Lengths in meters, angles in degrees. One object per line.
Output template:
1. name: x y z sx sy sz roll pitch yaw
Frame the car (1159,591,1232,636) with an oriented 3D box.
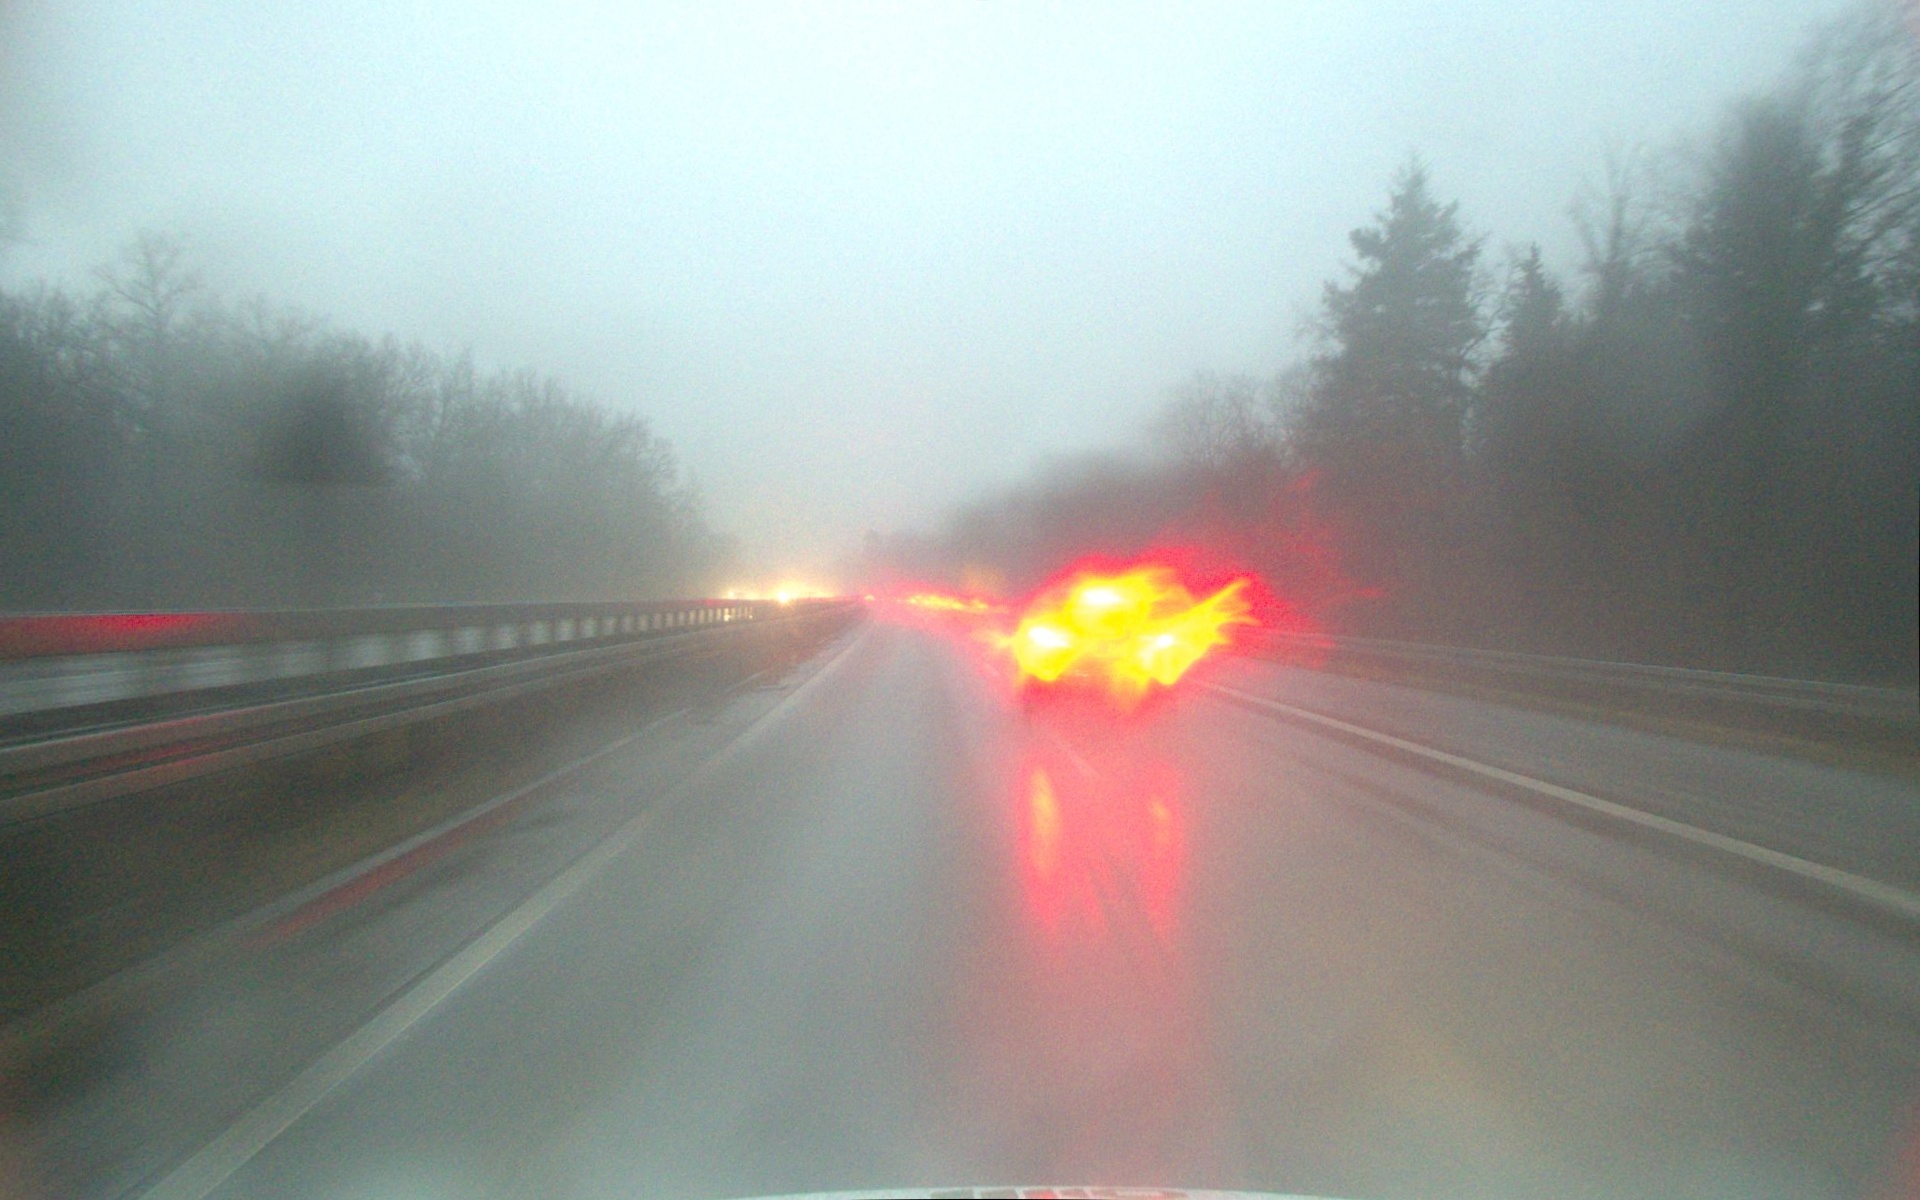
1. car: 7.952 0.450 56.085 1.827 1.443 3.999 1 0 -1

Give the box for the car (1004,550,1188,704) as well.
1. car: 1.691 0.340 21.885 1.886 1.823 3.938 1 0 -3
